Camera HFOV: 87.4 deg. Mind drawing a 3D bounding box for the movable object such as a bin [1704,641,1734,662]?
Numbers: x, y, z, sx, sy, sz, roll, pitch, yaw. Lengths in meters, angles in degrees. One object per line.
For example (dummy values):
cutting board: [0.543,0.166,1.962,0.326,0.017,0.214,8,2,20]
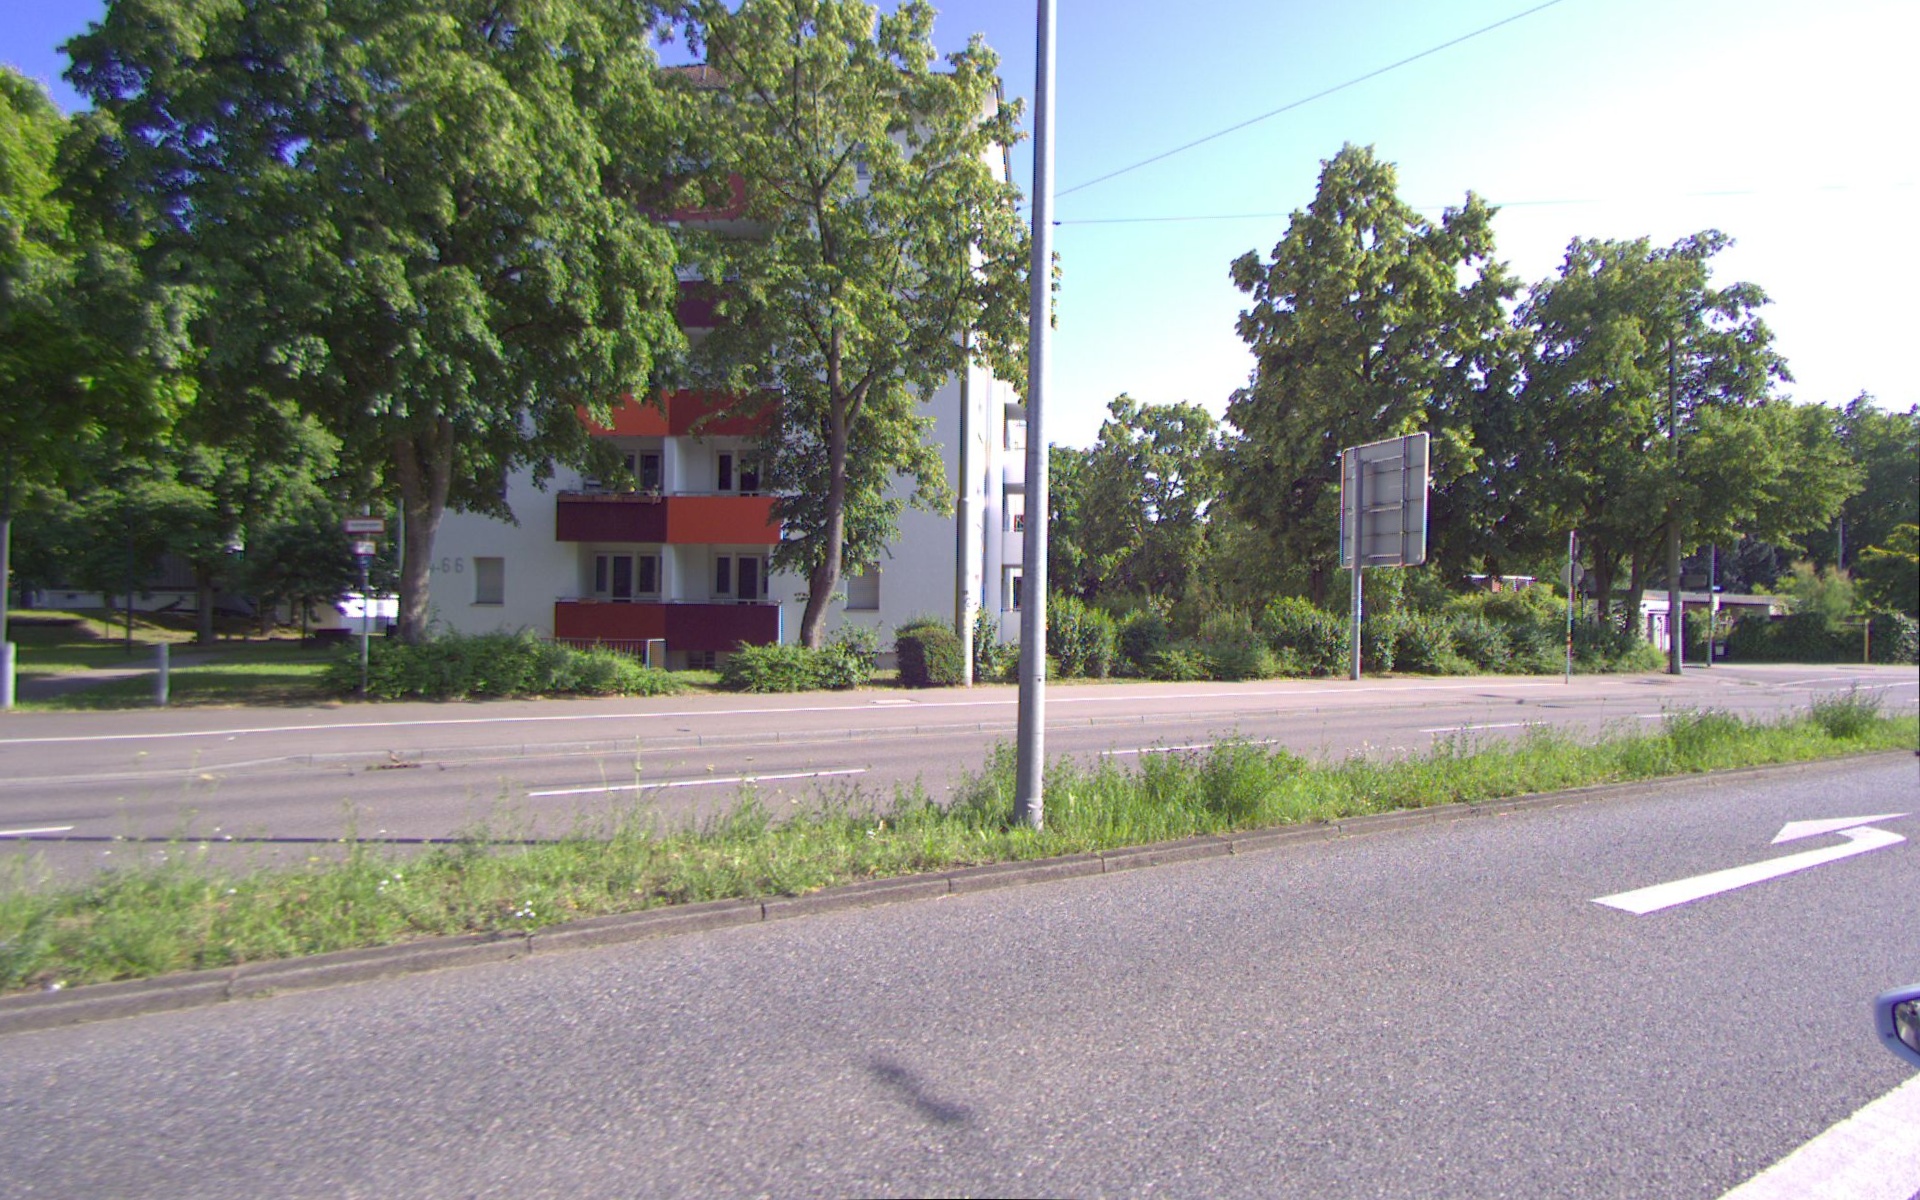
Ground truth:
movable object such as a bin: [35.168,2.374,46.546,0.842,0.943,0.813,1,-1,-28]
